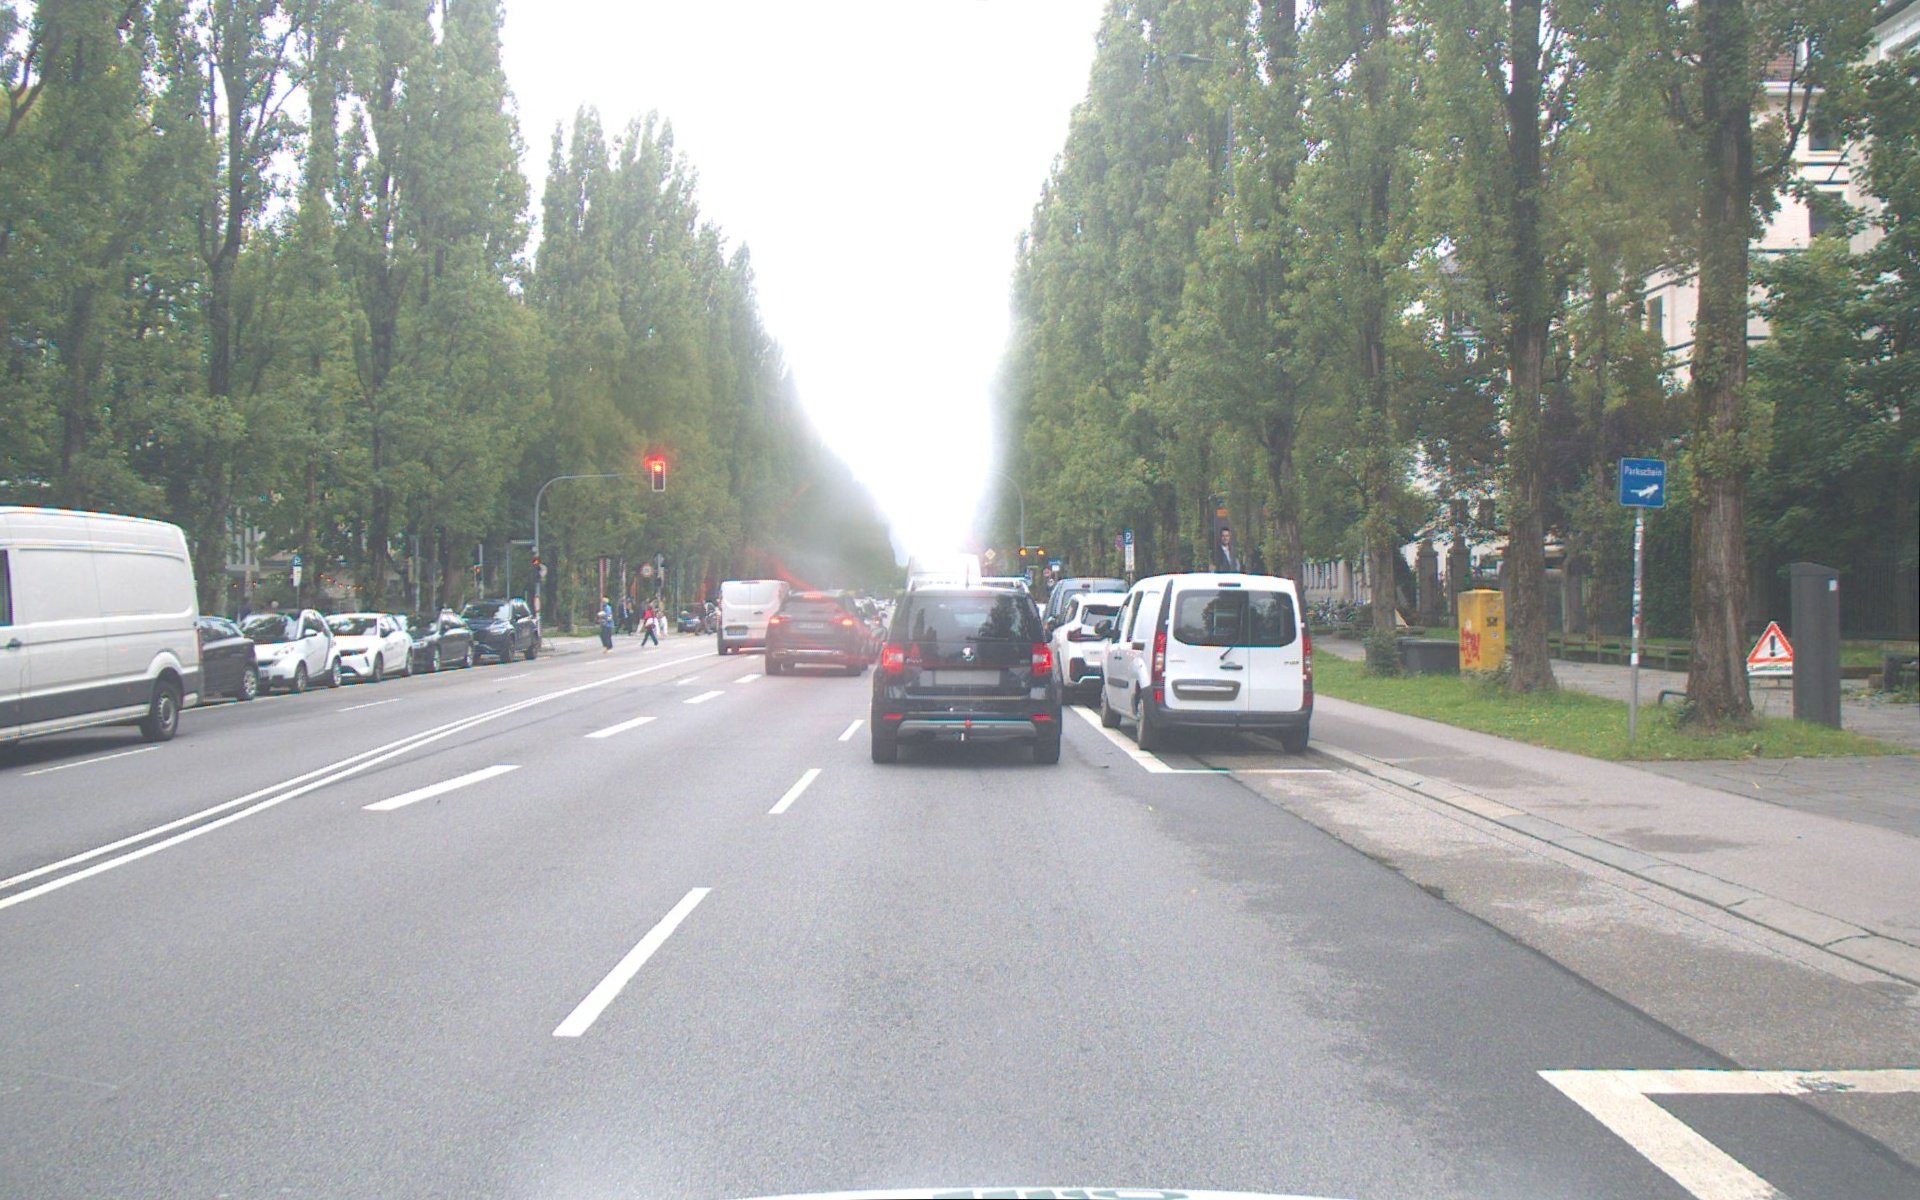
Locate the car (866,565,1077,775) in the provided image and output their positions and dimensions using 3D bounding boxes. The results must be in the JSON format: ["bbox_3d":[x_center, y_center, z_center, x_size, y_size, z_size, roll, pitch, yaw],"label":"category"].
[{"bbox_3d":[0.077,0.608,16.443,1.818,1.801,3.999,1,0,-1],"label":"car"}]

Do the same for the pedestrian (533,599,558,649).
[{"bbox_3d":[-13.504,0.782,53.877,0.647,1.605,0.530,-1,0,-1],"label":"pedestrian"}]

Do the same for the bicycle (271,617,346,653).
[{"bbox_3d":[-23.823,1.291,60.488,2.481,1.259,0.813,-1,0,9],"label":"bicycle"}]

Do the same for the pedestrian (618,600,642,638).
[{"bbox_3d":[-15.833,0.913,79.318,0.861,1.795,0.879,-1,0,8],"label":"pedestrian"}]

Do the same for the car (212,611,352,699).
[{"bbox_3d":[-12.814,1.003,31.411,1.399,1.472,2.965,-4,0,-1],"label":"car"}]

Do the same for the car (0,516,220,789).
[{"bbox_3d":[-10.053,0.532,16.834,2.183,2.526,6.754,-3,0,-3],"label":"car"}]

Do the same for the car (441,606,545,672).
[{"bbox_3d":[-13.228,1.061,47.143,1.812,1.683,4.692,-3,0,-3],"label":"car"}]

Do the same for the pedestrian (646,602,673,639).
[{"bbox_3d":[-13.928,0.958,76.644,0.874,1.684,0.866,-1,0,-39],"label":"pedestrian"}]

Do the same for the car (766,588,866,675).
[{"bbox_3d":[-2.871,0.591,33.707,1.745,1.648,4.024,1,0,-1],"label":"car"}]

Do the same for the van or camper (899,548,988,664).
[{"bbox_3d":[-0.447,0.128,39.337,1.936,2.593,4.023,-1,0,-3],"label":"van or camper"}]

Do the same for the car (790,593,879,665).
[{"bbox_3d":[-2.981,0.648,40.042,1.953,1.588,3.999,-1,1,-2],"label":"car"}]

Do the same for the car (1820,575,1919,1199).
[{"bbox_3d":[2.887,0.730,1.508,1.842,1.567,4.463,-1,0,0],"label":"car"}]

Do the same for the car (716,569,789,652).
[{"bbox_3d":[-5.695,0.278,45.685,1.746,2.148,4.021,-1,0,-4],"label":"car"}]

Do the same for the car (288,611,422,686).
[{"bbox_3d":[-12.970,0.992,35.695,1.592,1.413,4.163,-3,0,-4],"label":"car"}]

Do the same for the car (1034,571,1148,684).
[{"bbox_3d":[2.355,0.459,30.658,1.700,1.928,4.024,-1,0,-1],"label":"car"}]

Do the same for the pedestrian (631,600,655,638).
[{"bbox_3d":[-15.008,0.885,78.325,0.861,1.795,0.879,-1,0,8],"label":"pedestrian"}]

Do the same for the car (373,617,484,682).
[{"bbox_3d":[-13.165,1.190,41.194,1.591,1.413,4.164,-3,0,-3],"label":"car"}]

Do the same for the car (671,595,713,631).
[{"bbox_3d":[-14.111,0.652,87.165,1.654,1.814,3.774,-1,0,-1],"label":"car"}]

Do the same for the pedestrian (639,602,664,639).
[{"bbox_3d":[-14.433,0.962,77.380,0.874,1.684,0.866,-1,0,-39],"label":"pedestrian"}]

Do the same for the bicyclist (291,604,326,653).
[{"bbox_3d":[-23.821,1.032,60.467,0.886,1.752,0.825,-1,0,9],"label":"bicyclist"}]

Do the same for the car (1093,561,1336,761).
[{"bbox_3d":[2.654,0.580,18.207,1.814,1.914,4.166,-1,0,-3],"label":"car"}]

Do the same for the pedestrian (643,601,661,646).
[{"bbox_3d":[-10.495,0.810,56.374,0.507,1.511,0.536,-1,0,-1],"label":"pedestrian"}]

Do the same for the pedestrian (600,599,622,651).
[{"bbox_3d":[-11.035,0.789,52.251,0.517,1.605,0.662,-1,0,0],"label":"pedestrian"}]

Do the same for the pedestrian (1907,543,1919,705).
[{"bbox_3d":[11.508,0.272,19.263,0.479,1.895,0.635,-1,0,-18],"label":"pedestrian"}]

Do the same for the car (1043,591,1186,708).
[{"bbox_3d":[2.282,0.686,25.383,1.705,1.620,4.211,-1,0,-1],"label":"car"}]

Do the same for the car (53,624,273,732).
[{"bbox_3d":[-12.694,1.198,26.606,1.568,1.450,3.851,-3,0,0],"label":"car"}]

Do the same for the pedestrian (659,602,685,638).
[{"bbox_3d":[-13.691,0.969,78.548,0.874,1.684,0.866,-1,0,-39],"label":"pedestrian"}]

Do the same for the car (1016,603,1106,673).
[{"bbox_3d":[2.202,0.799,36.730,1.700,1.411,3.561,-1,0,-1],"label":"car"}]

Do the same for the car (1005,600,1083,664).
[{"bbox_3d":[2.094,0.771,42.030,1.700,1.501,3.561,-1,0,-1],"label":"car"}]
